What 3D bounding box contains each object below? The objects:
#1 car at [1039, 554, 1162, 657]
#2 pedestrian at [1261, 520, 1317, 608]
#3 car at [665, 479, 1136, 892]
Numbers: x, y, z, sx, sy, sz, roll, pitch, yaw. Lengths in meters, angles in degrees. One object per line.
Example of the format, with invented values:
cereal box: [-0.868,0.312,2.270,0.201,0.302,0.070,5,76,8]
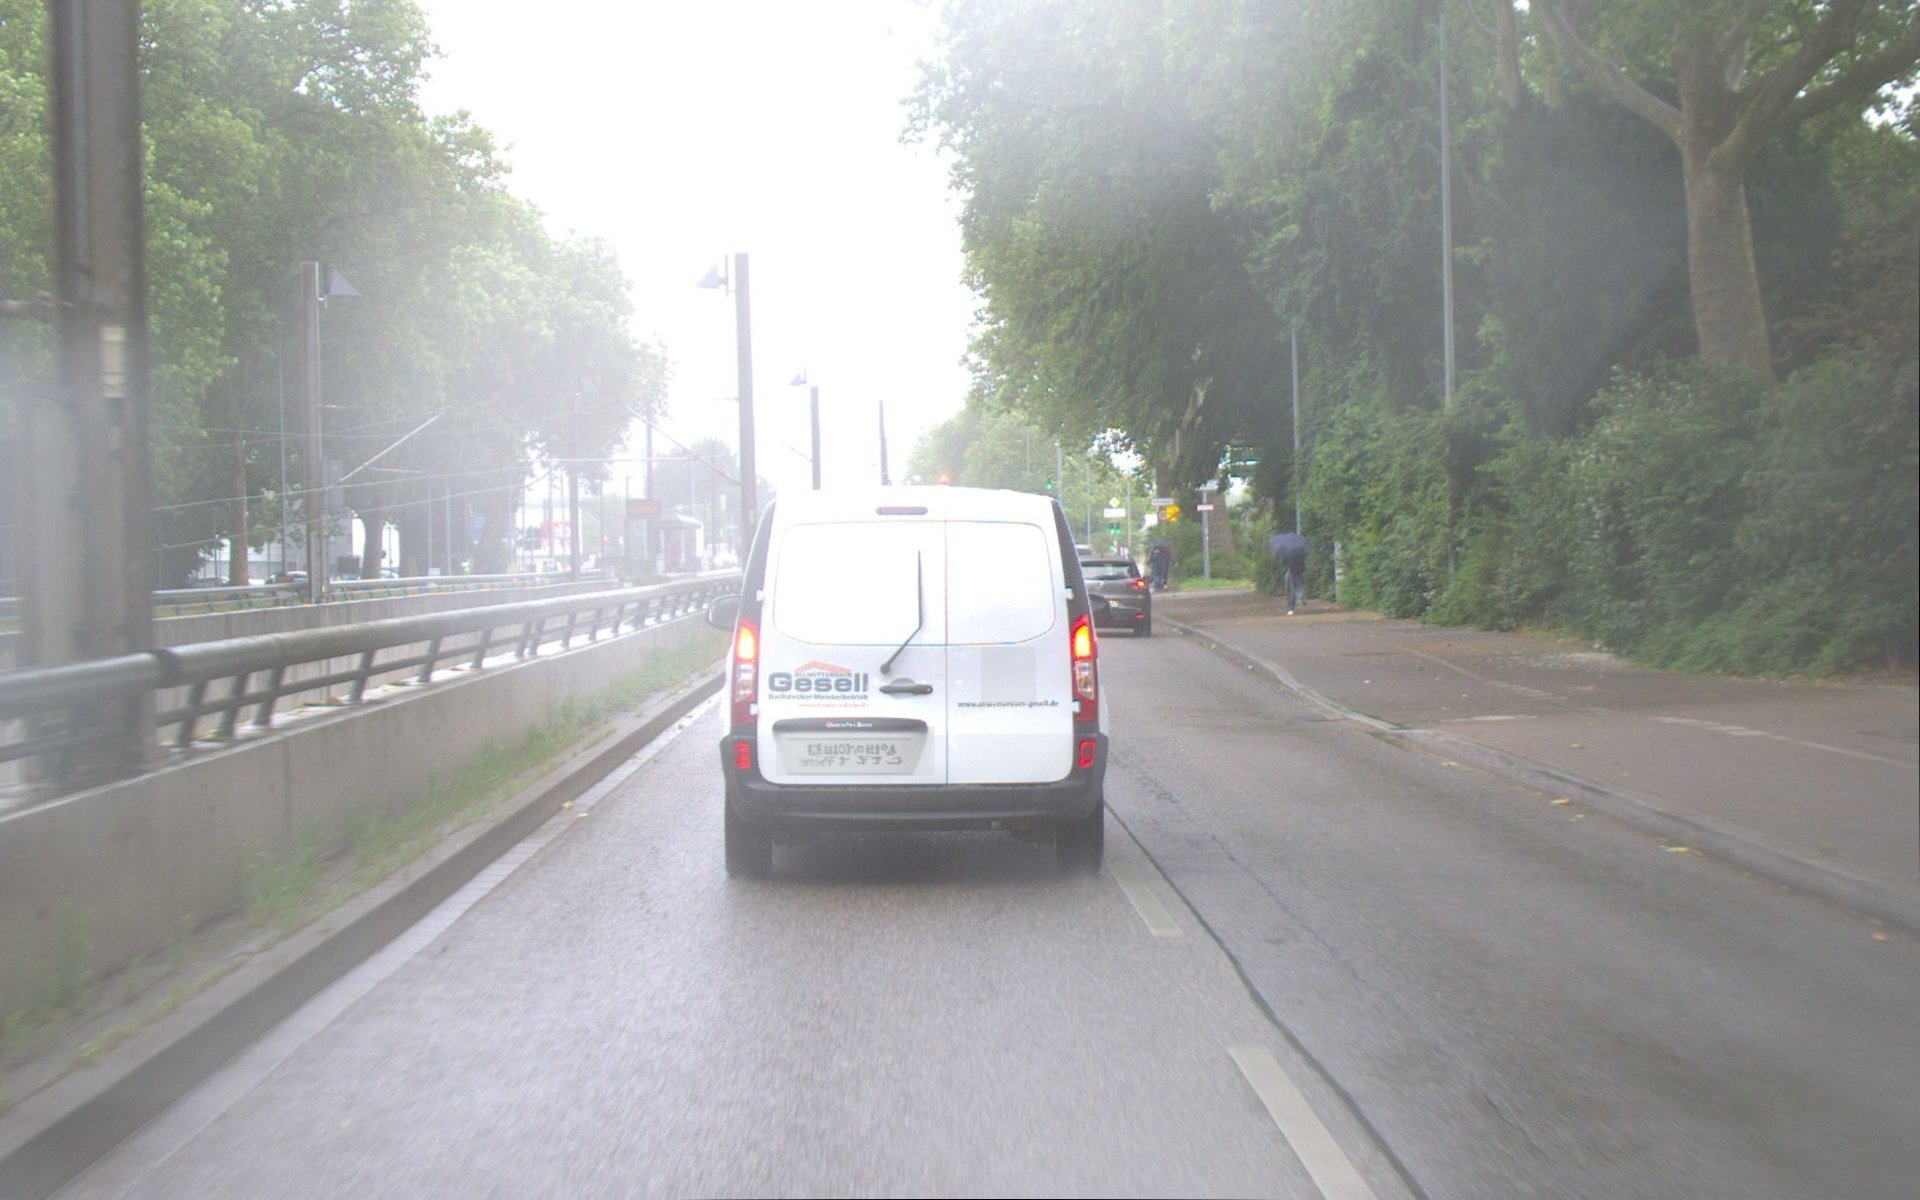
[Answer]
car: [2.520,0.065,60.871,1.994,1.744,3.999,1,1,5]
pedestrian: [6.452,-0.714,67.525,0.967,1.696,1.141,1,1,0]
car: [-0.300,0.344,17.082,2.025,1.769,4.274,1,1,-1]
